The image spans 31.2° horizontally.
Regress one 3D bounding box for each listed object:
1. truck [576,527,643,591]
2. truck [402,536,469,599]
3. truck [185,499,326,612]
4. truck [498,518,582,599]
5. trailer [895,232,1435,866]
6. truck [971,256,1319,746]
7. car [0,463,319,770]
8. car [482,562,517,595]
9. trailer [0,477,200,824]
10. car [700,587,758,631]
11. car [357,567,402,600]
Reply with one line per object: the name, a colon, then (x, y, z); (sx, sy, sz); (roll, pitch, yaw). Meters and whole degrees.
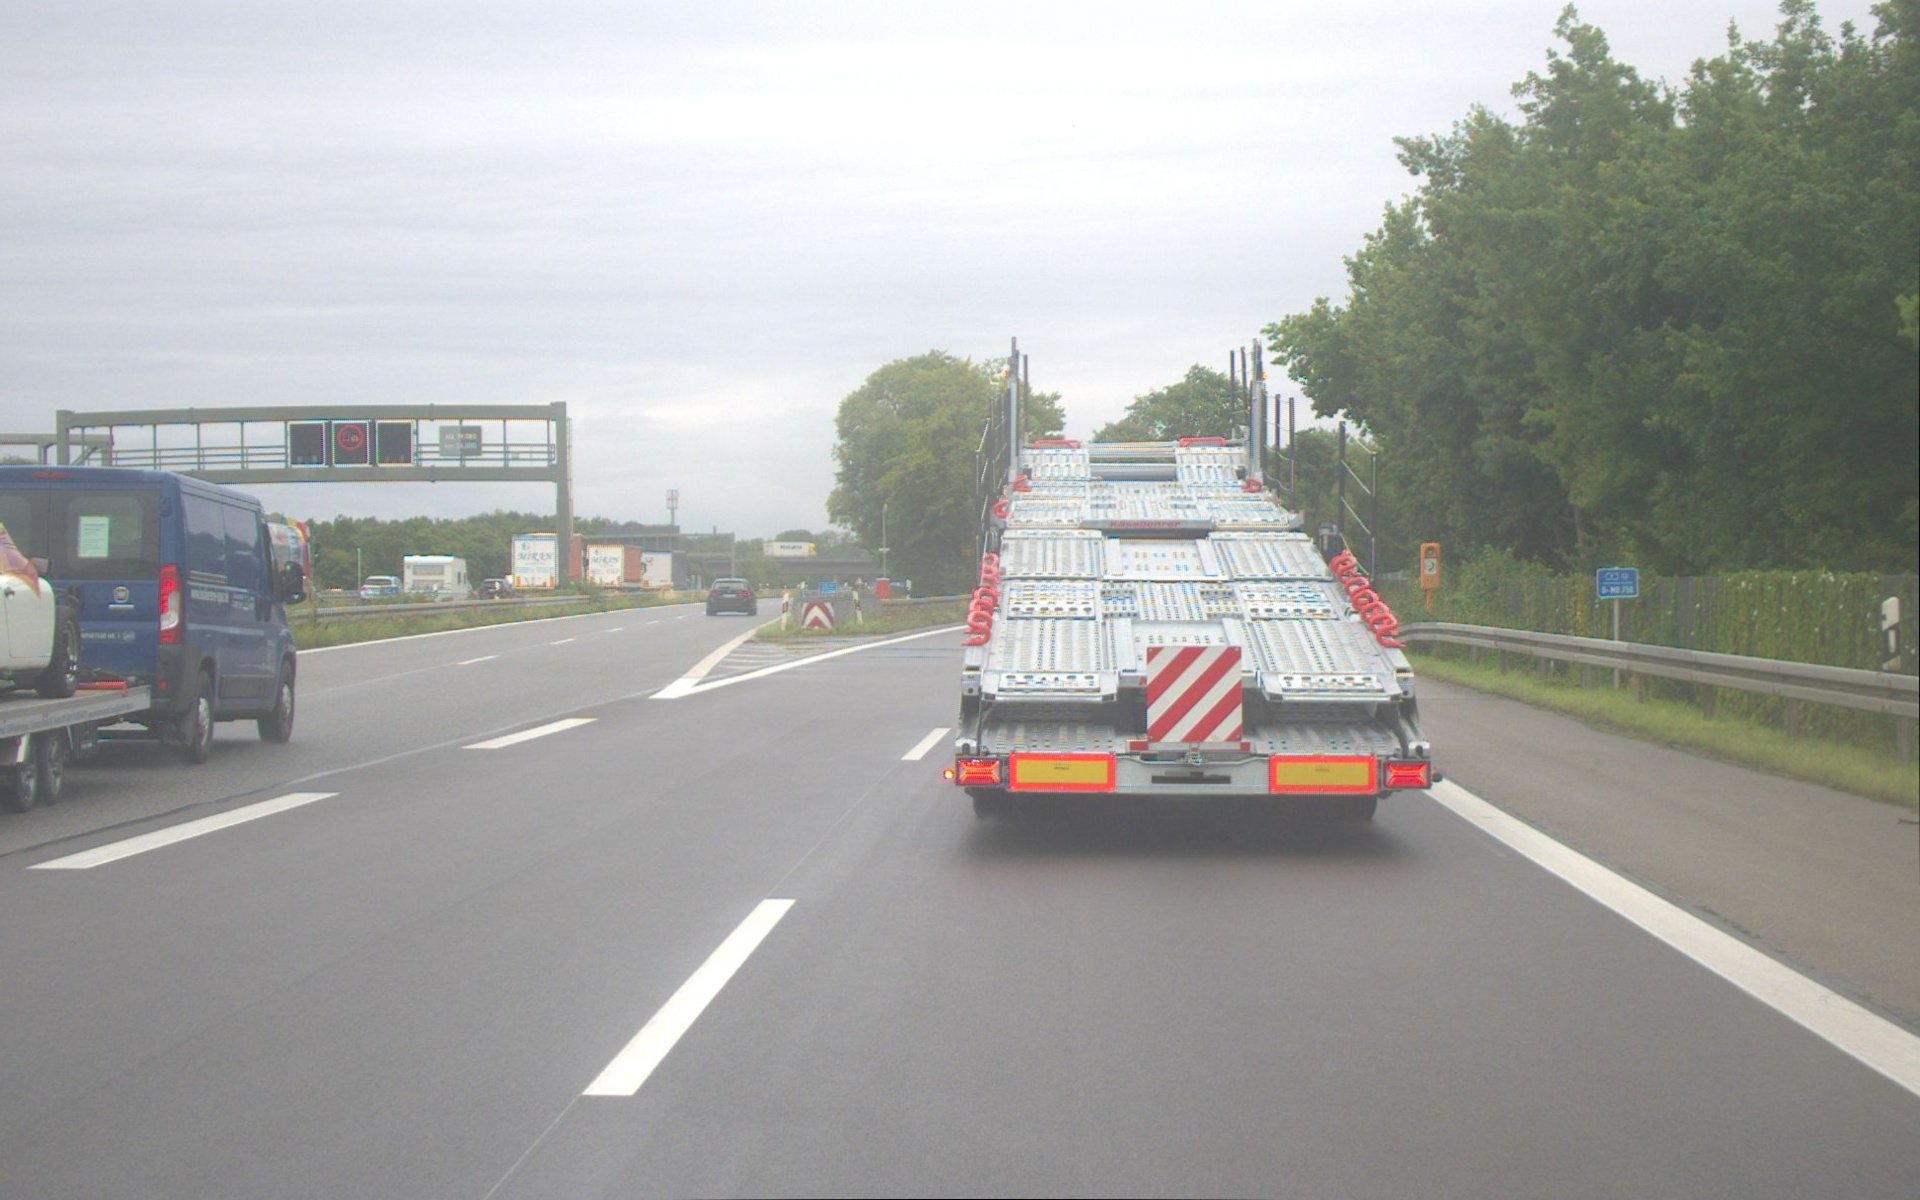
truck: (-24.741, -2.896, 243.237); (3.733, 4.402, 11.898); (1, 1, -1)
truck: (-22.931, -1.440, 150.544); (2.243, 2.695, 5.279); (1, 1, -1)
truck: (-21.991, -1.375, 107.709); (2.856, 3.353, 8.632); (0, 0, -1)
truck: (-23.866, -2.354, 195.763); (3.733, 4.402, 10.196); (1, 1, -1)
trailer: (1.293, -0.335, 23.129); (2.778, 3.273, 10.406); (1, 1, 3)
truck: (1.790, -0.874, 32.889); (2.739, 3.954, 9.127); (2, 1, 3)
car: (-7.026, 0.089, 28.641); (2.372, 2.259, 6.257); (1, 0, -2)
car: (-28.448, -1.293, 212.438); (1.729, 2.007, 4.000); (1, 0, -2)
trailer: (-6.800, 0.253, 22.019); (2.484, 1.988, 7.064); (1, 0, -2)
car: (-8.841, 0.333, 131.843); (1.961, 1.632, 5.625); (1, 0, -2)
car: (-27.645, -0.814, 163.872); (1.682, 1.525, 4.001); (1, 1, -4)
